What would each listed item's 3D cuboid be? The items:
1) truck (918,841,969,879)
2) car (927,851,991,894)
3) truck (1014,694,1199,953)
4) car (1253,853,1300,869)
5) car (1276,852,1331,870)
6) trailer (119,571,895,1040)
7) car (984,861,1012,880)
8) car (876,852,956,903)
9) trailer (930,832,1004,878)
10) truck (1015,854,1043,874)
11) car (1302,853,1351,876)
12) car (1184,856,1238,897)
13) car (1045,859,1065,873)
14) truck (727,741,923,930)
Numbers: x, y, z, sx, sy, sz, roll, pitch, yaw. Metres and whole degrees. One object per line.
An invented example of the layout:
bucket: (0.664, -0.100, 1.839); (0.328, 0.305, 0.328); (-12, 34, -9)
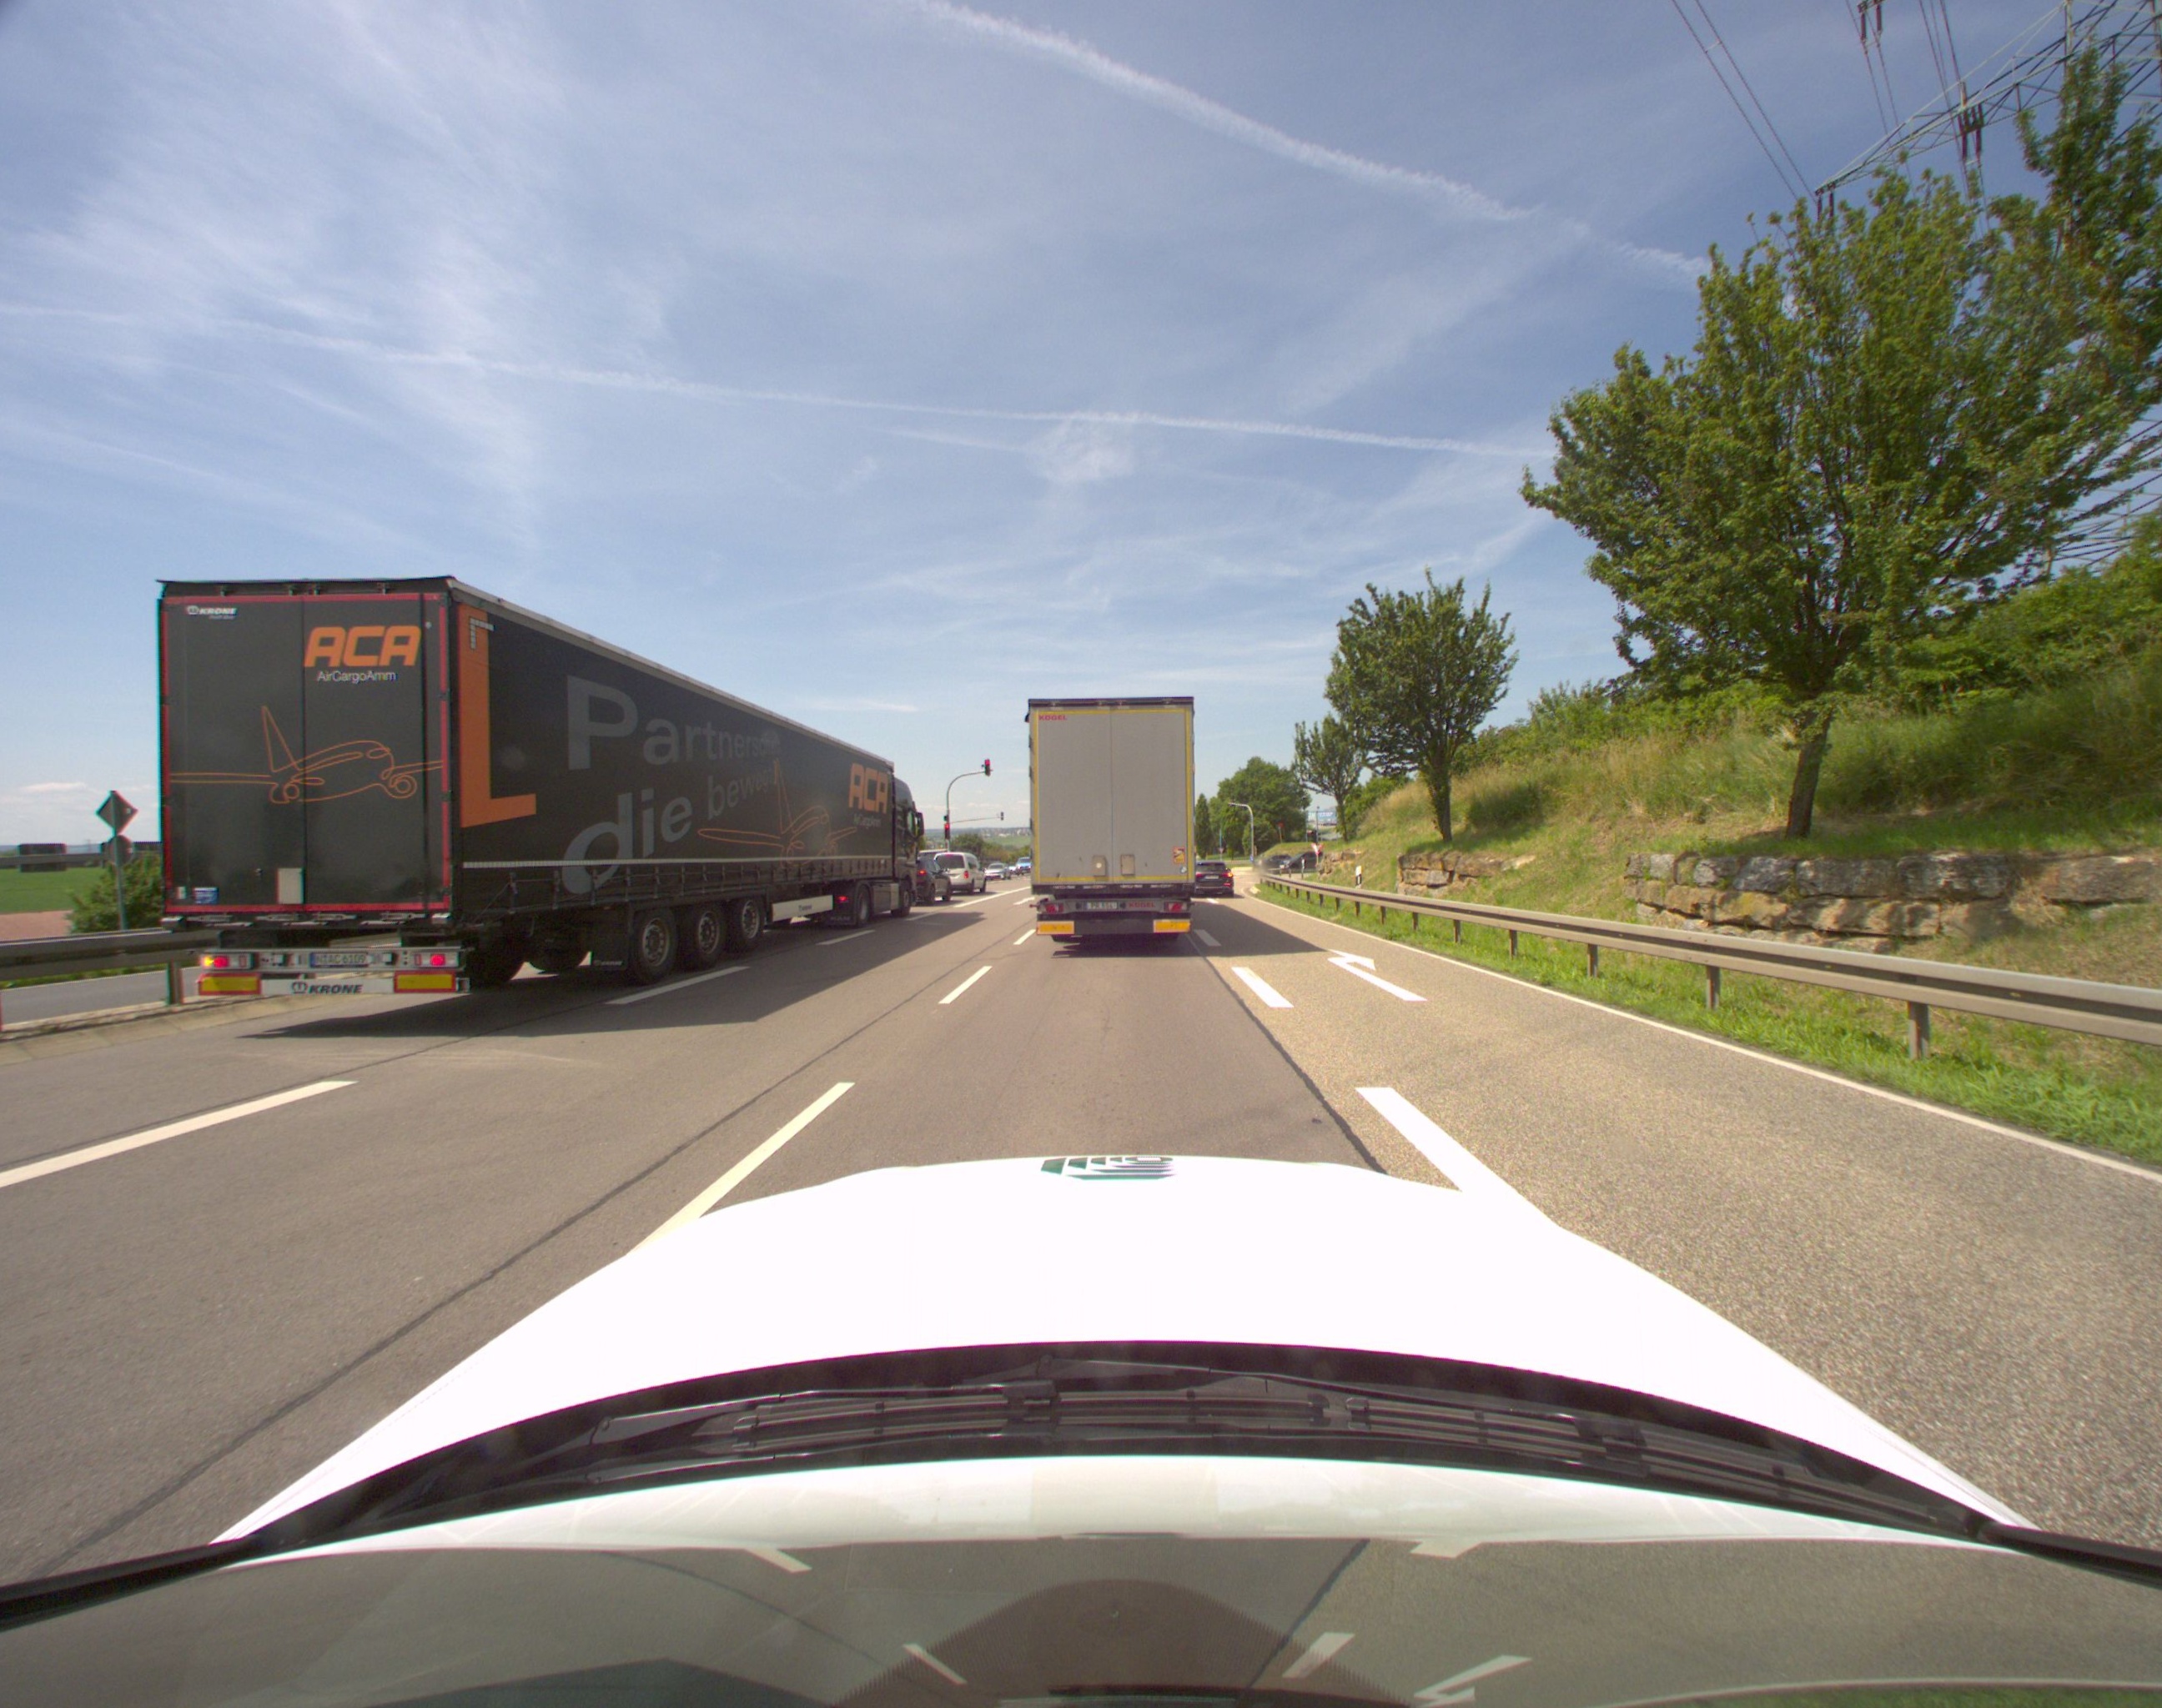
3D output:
truck: (-11.407, 0.522, 68.019); (2.787, 3.014, 5.996); (-2, -1, 4)
car: (-5.392, 0.775, 36.612); (1.759, 1.798, 4.758); (-1, 0, 5)
truck: (0.593, -0.402, 18.049); (2.788, 3.930, 11.346); (0, -1, 2)
car: (18.863, 0.676, 78.651); (3.981, 1.511, 1.713); (-1, -1, -6)
car: (19.750, 0.608, 72.243); (4.355, 1.511, 1.711); (-1, -1, -8)
trailer: (-6.393, -0.350, 13.716); (2.772, 3.913, 13.795); (0, 0, 3)
car: (-7.049, 1.393, 69.687); (1.729, 1.528, 4.004); (-1, -1, 4)
car: (-5.727, 0.791, 28.802); (1.849, 1.657, 4.349); (0, 0, 1)
trailer: (-10.506, 0.257, 78.040); (2.627, 3.763, 19.823); (-2, -1, 5)
truck: (-5.746, 1.112, 90.303); (1.954, 2.157, 4.636); (-2, -1, 10)
car: (17.961, 0.761, 59.528); (1.779, 1.640, 4.024); (-1, -1, 44)
car: (5.165, 0.868, 32.761); (1.738, 1.532, 4.302); (-1, -1, 3)
car: (-2.876, 1.329, 91.200); (1.747, 1.469, 4.202); (-1, 0, 5)
truck: (-6.066, -0.370, 20.400); (2.772, 4.013, 5.974); (0, -1, 2)
